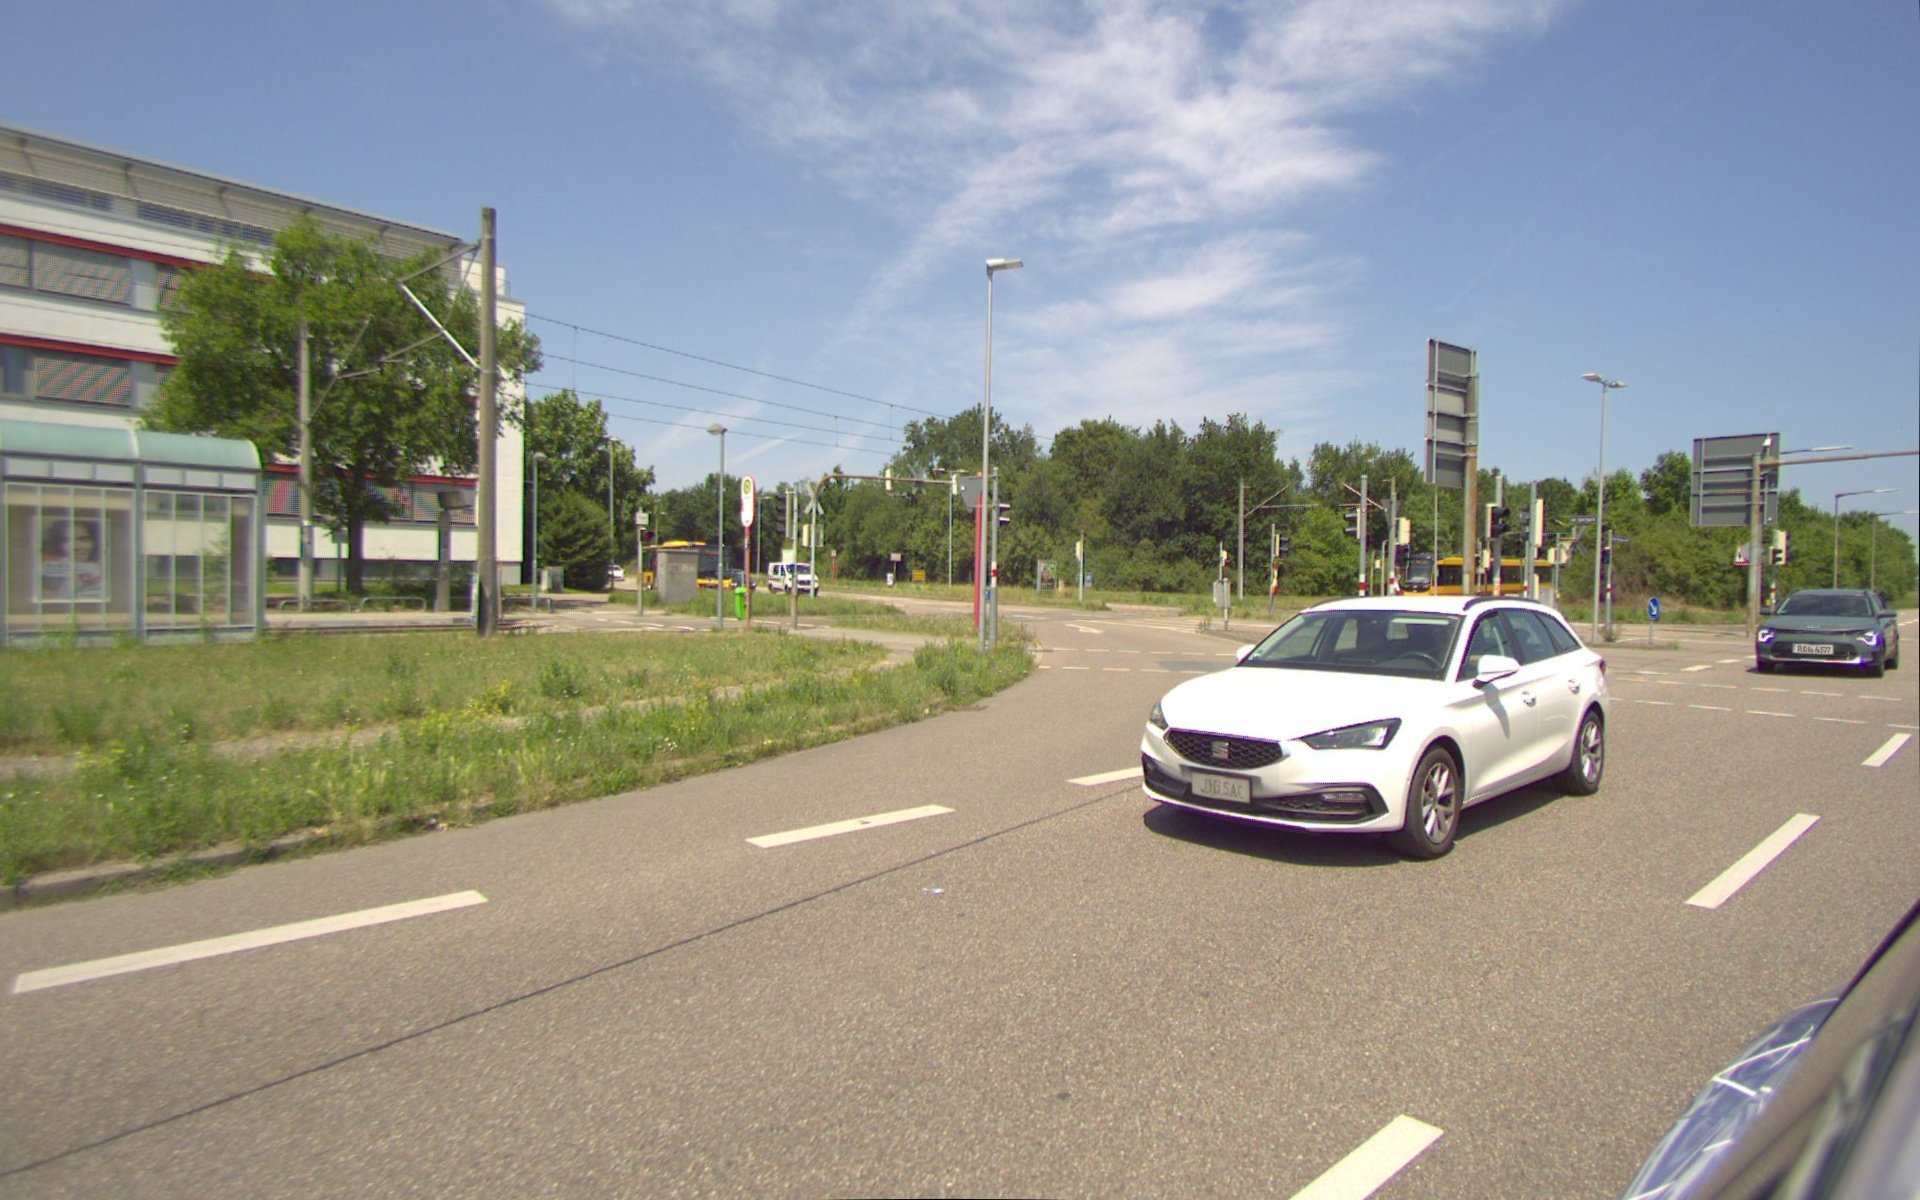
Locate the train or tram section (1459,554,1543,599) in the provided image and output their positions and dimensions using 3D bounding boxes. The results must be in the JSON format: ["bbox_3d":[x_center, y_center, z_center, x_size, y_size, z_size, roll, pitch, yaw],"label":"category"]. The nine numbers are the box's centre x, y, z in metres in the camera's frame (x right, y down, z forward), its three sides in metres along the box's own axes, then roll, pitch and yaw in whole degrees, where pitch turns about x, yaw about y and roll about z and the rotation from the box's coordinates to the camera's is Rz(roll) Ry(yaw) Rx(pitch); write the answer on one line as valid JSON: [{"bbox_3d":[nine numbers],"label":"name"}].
[{"bbox_3d":[46.289,-1.990,86.340,2.815,3.626,12.299,2,2,45],"label":"train or tram section"}]

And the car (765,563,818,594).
[{"bbox_3d":[-10.125,-1.267,60.414,1.790,1.750,5.081,-1,1,-25],"label":"car"}]

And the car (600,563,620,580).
[{"bbox_3d":[-34.367,-2.802,99.296,1.380,1.620,3.380,-1,1,-26],"label":"car"}]

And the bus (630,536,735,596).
[{"bbox_3d":[-16.412,-1.941,58.992,2.783,3.158,12.091,-1,2,-31],"label":"bus"}]

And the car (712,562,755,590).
[{"bbox_3d":[-13.662,-1.468,60.957,1.640,1.599,4.007,0,1,-26],"label":"car"}]

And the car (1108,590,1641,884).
[{"bbox_3d":[3.093,0.651,7.024,4.374,1.407,1.685,0,1,-42],"label":"car"}]

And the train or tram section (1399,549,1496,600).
[{"bbox_3d":[37.531,-1.917,77.565,2.816,3.626,12.299,2,2,45],"label":"train or tram section"}]

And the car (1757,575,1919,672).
[{"bbox_3d":[16.648,0.377,19.122,3.929,1.616,1.722,0,2,-40],"label":"car"}]
